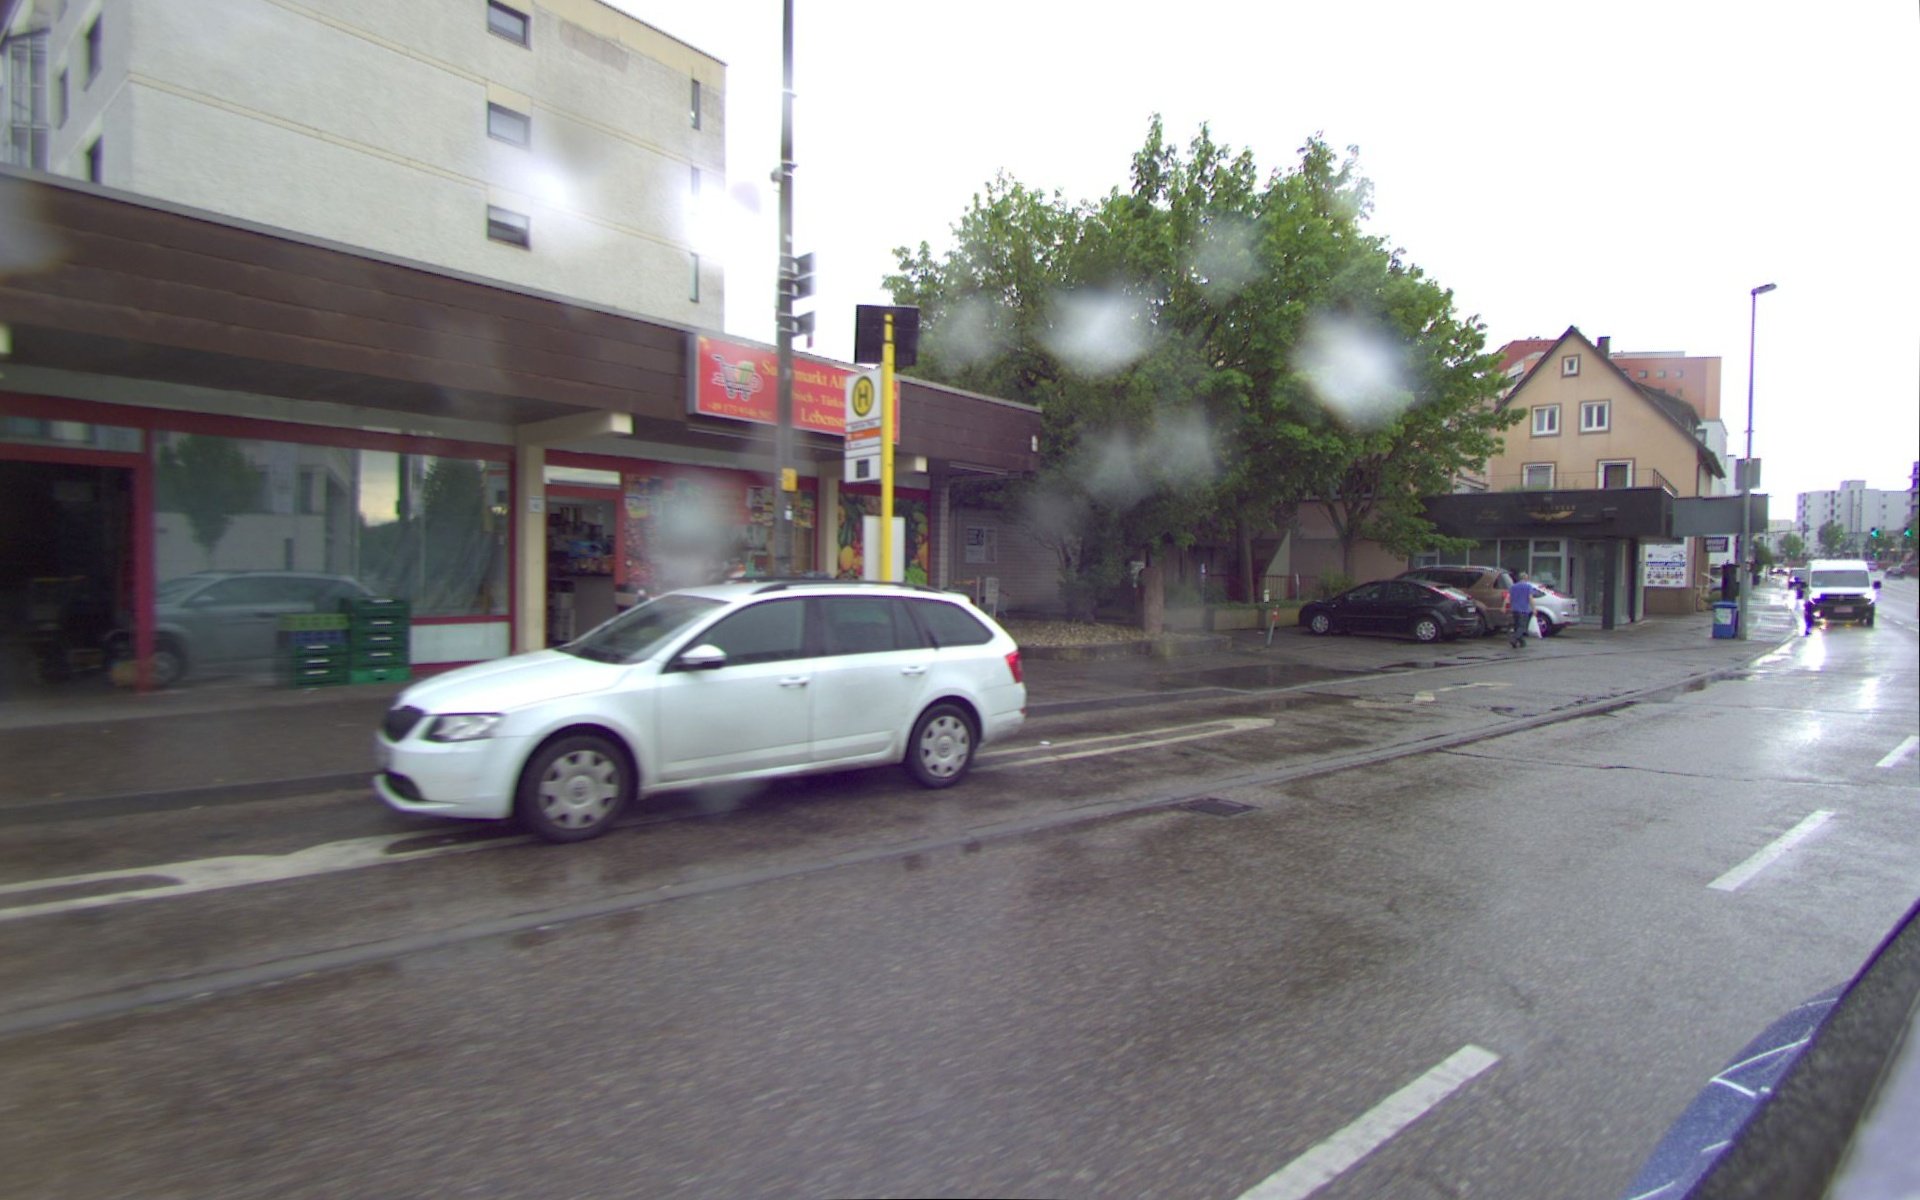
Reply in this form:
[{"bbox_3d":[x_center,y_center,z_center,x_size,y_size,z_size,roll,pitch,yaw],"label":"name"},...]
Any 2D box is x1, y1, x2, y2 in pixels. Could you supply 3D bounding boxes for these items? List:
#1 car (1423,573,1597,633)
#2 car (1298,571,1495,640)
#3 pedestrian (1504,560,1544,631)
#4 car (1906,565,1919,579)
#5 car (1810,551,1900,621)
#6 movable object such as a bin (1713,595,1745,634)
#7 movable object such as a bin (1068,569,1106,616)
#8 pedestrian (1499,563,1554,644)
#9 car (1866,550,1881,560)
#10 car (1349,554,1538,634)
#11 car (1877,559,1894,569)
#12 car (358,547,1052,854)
[{"bbox_3d":[15.483,0.023,28.635,1.718,1.465,3.991,-1,3,-44],"label":"car"},{"bbox_3d":[10.763,0.068,25.131,4.148,1.471,1.775,3,4,43],"label":"car"},{"bbox_3d":[15.047,-0.132,27.029,0.700,1.843,0.794,1,3,14],"label":"pedestrian"},{"bbox_3d":[119.385,-3.459,126.020,1.878,1.542,4.127,3,5,39],"label":"car"},{"bbox_3d":[35.725,-0.671,40.565,2.287,2.410,6.535,3,5,39],"label":"car"},{"bbox_3d":[22.426,0.411,29.527,0.636,1.088,0.687,3,1,43],"label":"movable object such as a bin"},{"bbox_3d":[2.999,-0.177,23.842,0.643,1.069,0.632,3,2,39],"label":"movable object such as a bin"},{"bbox_3d":[12.875,0.067,23.006,0.875,1.758,0.748,4,2,42],"label":"pedestrian"},{"bbox_3d":[166.037,-8.244,183.918,2.001,1.637,4.874,3,5,42],"label":"car"},{"bbox_3d":[12.695,-0.227,26.750,1.846,1.893,4.098,-1,3,-44],"label":"car"},{"bbox_3d":[147.604,-5.783,161.395,1.648,1.434,4.081,6,7,40],"label":"car"},{"bbox_3d":[-1.569,0.467,7.120,4.399,1.516,1.736,0,3,-38],"label":"car"}]
